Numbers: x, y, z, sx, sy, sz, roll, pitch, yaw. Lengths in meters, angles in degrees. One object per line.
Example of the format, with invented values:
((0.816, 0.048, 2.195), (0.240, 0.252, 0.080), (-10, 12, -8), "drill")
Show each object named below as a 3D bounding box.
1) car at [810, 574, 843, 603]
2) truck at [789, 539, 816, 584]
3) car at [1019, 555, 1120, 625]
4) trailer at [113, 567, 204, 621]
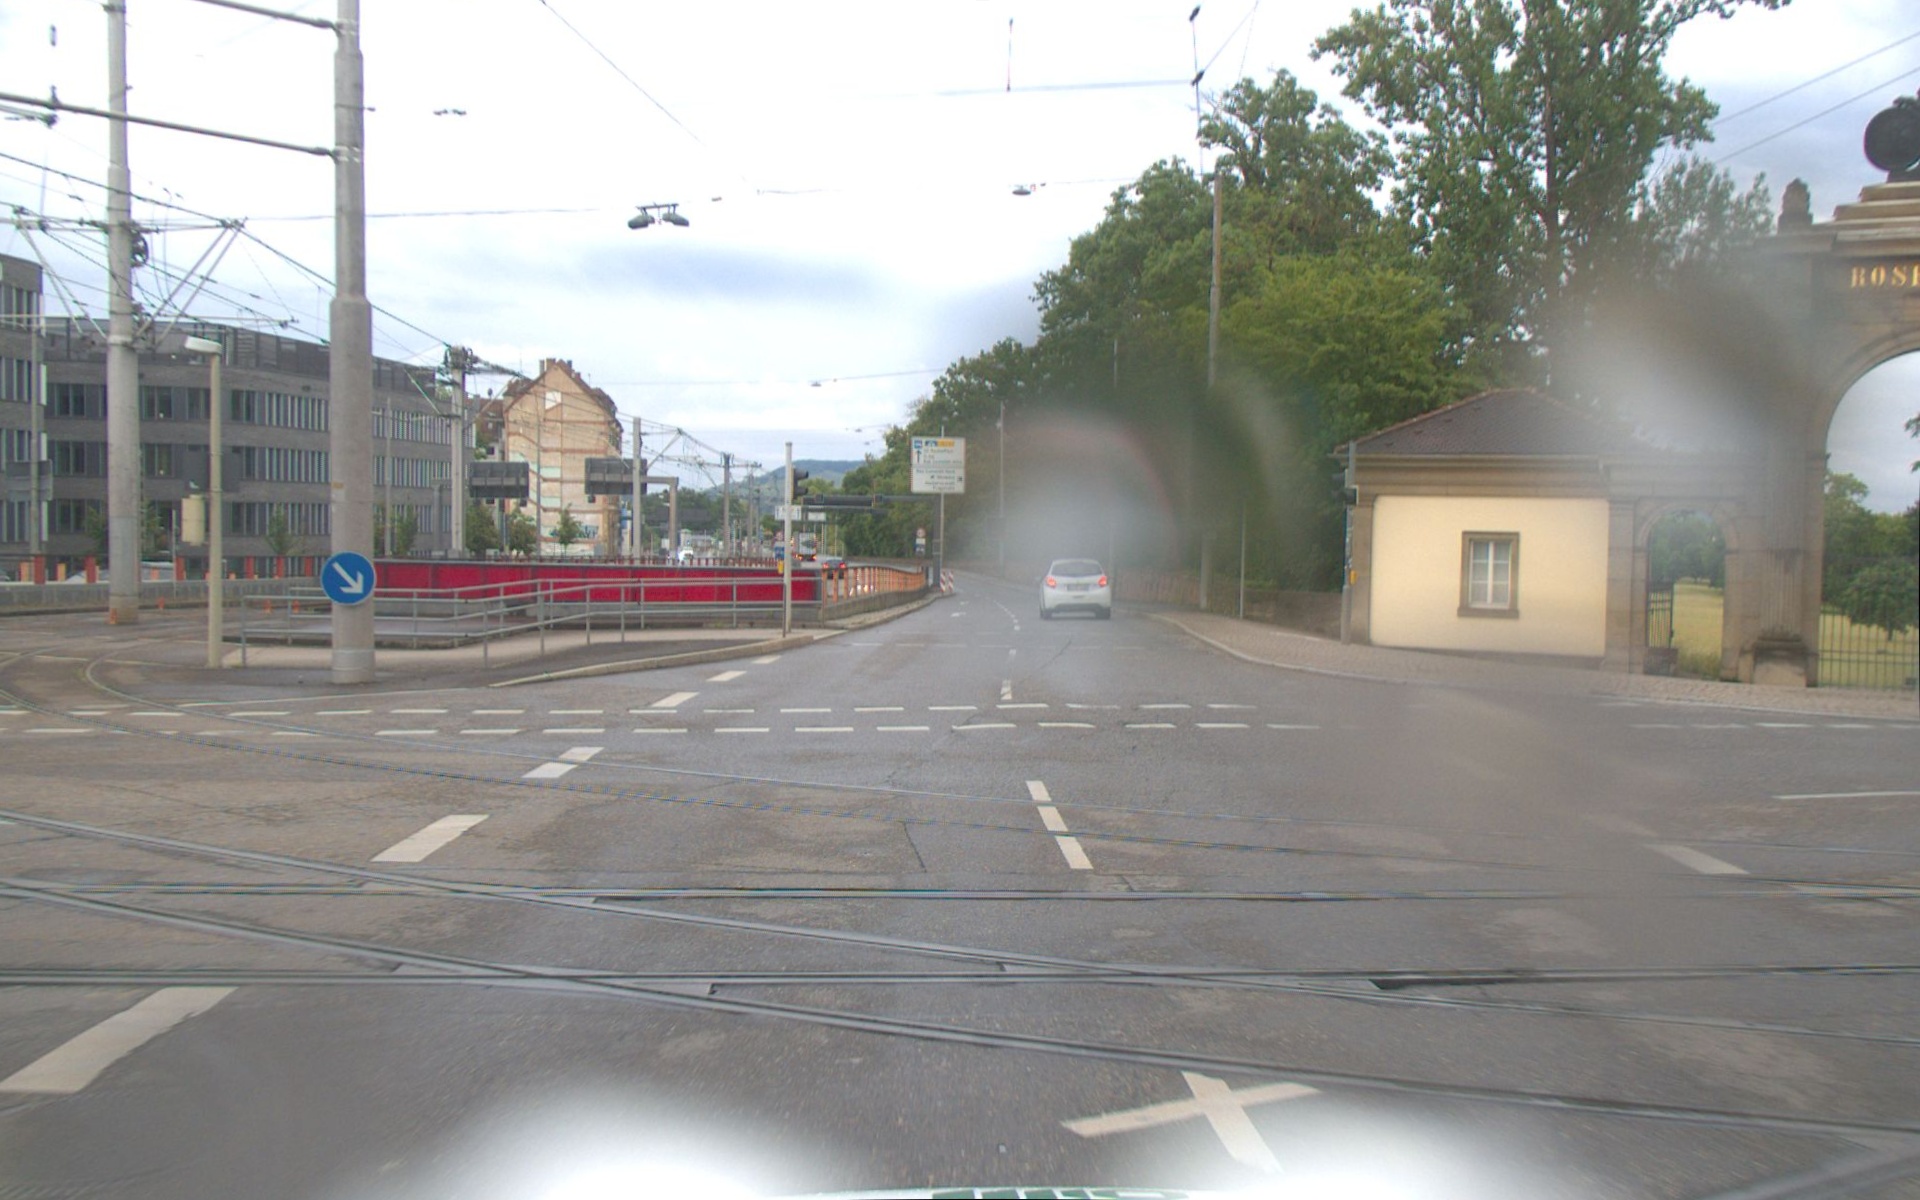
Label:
((-9.200, -0.787, 113.647), (1.956, 1.905, 3.992), (-1, 0, -8), "car")
((-22.440, -5.369, 234.987), (3.398, 5.496, 12.031), (1, -3, -7), "truck")
((2.685, -0.216, 41.482), (1.917, 1.514, 3.995), (1, -3, -5), "car")
((-34.714, -0.212, 71.757), (1.788, 2.111, 4.273), (1, -3, 0), "trailer")
